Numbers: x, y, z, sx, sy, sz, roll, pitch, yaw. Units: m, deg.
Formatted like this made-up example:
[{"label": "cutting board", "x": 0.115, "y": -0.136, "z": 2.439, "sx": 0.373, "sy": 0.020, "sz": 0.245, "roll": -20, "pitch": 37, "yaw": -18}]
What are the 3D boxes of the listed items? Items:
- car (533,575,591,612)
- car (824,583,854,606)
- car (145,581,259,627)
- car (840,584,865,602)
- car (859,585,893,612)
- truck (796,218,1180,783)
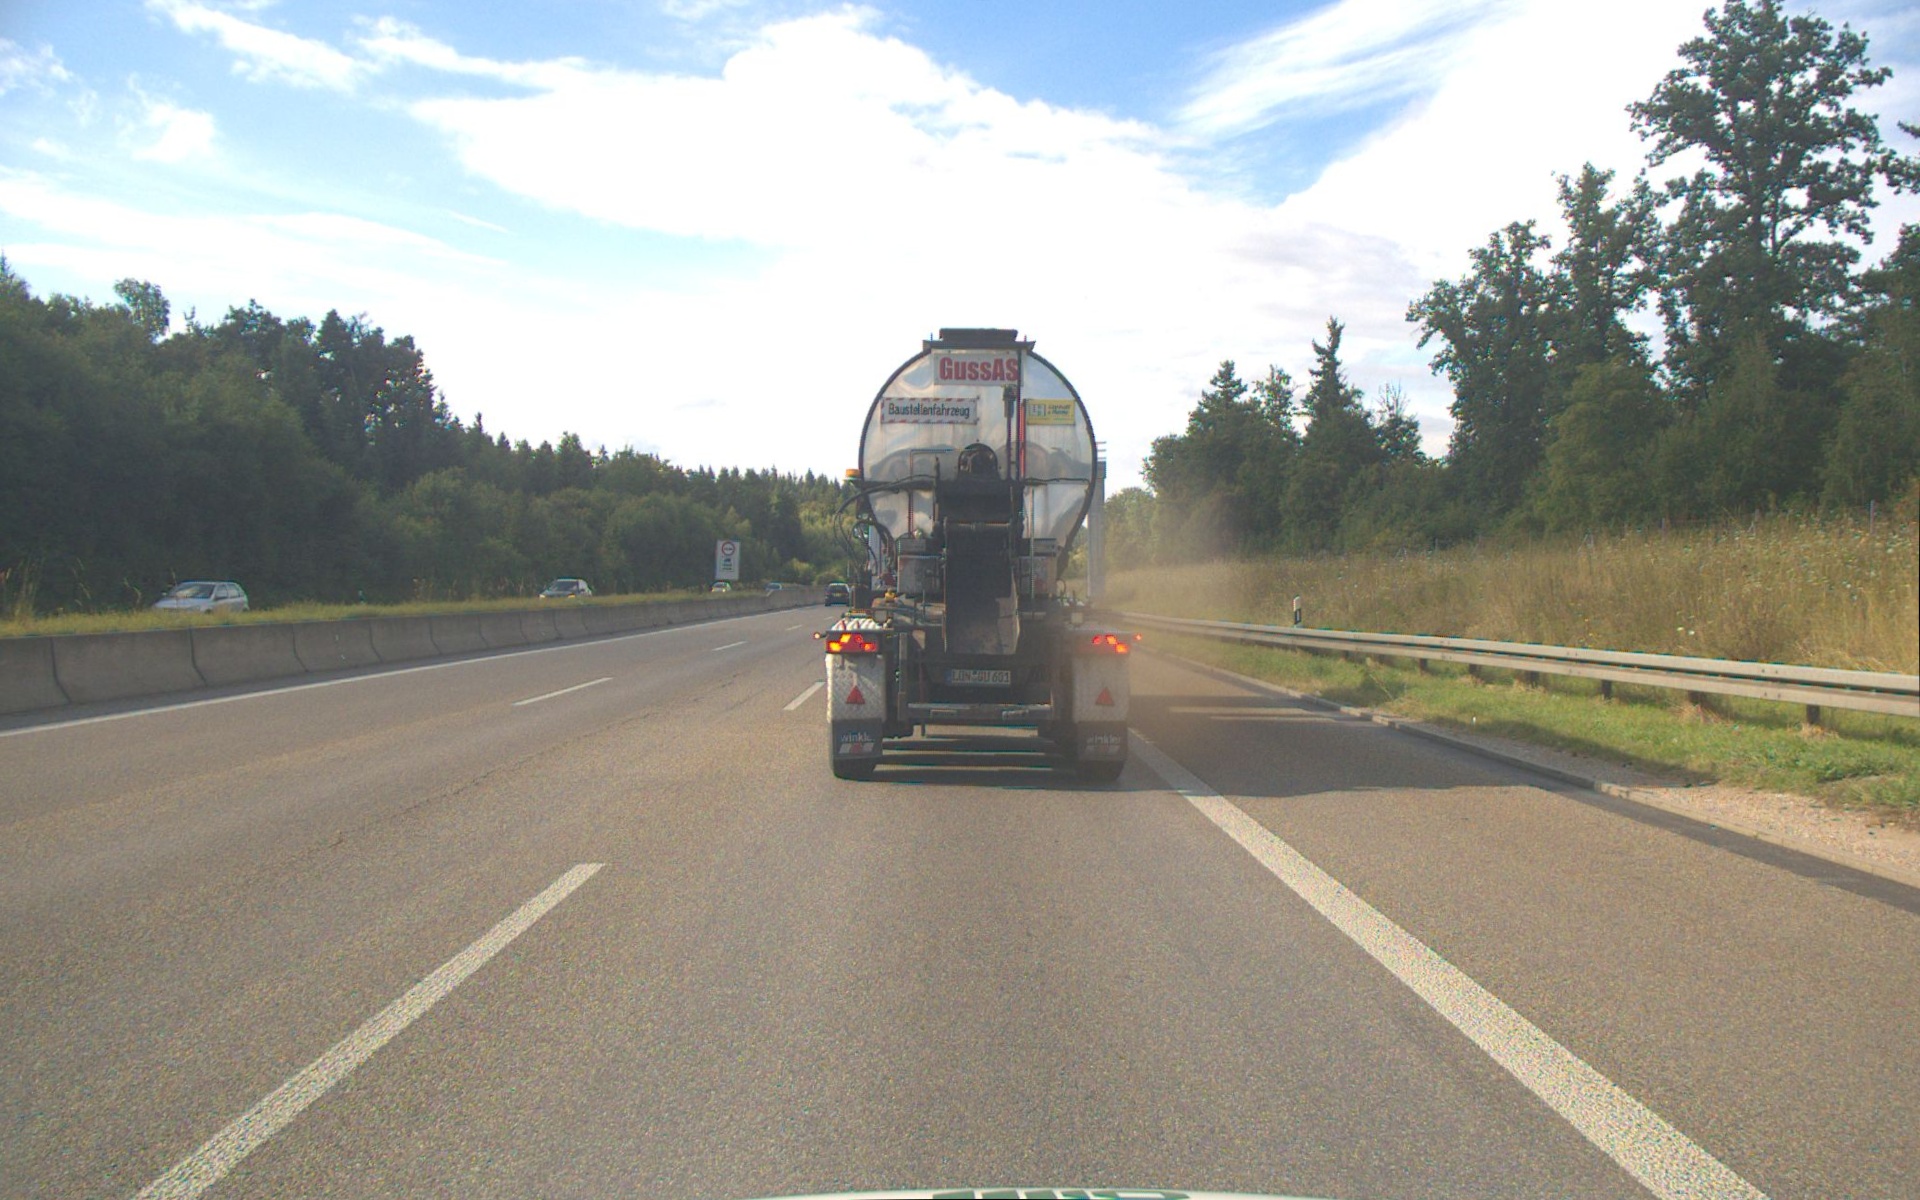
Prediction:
[{"label": "car", "x": -19.378, "y": -0.328, "z": 80.692, "sx": 1.867, "sy": 1.747, "sz": 4.000, "roll": 0, "pitch": 0, "yaw": -1}, {"label": "car", "x": -8.524, "y": -0.400, "z": 116.866, "sx": 1.798, "sy": 1.544, "sz": 4.332, "roll": 0, "pitch": 0, "yaw": -1}, {"label": "car", "x": -22.507, "y": 0.094, "z": 49.271, "sx": 1.779, "sy": 1.313, "sz": 3.544, "roll": 0, "pitch": 0, "yaw": -1}, {"label": "car", "x": -8.869, "y": -0.565, "z": 136.551, "sx": 1.818, "sy": 1.456, "sz": 4.840, "roll": 0, "pitch": 0, "yaw": -1}, {"label": "car", "x": -4.844, "y": -0.111, "z": 96.013, "sx": 1.798, "sy": 1.544, "sz": 4.332, "roll": 0, "pitch": 0, "yaw": -1}, {"label": "truck", "x": 0.160, "y": -0.789, "z": 18.087, "sx": 2.853, "sy": 4.230, "sz": 11.268, "roll": 0, "pitch": 0, "yaw": -1}]
